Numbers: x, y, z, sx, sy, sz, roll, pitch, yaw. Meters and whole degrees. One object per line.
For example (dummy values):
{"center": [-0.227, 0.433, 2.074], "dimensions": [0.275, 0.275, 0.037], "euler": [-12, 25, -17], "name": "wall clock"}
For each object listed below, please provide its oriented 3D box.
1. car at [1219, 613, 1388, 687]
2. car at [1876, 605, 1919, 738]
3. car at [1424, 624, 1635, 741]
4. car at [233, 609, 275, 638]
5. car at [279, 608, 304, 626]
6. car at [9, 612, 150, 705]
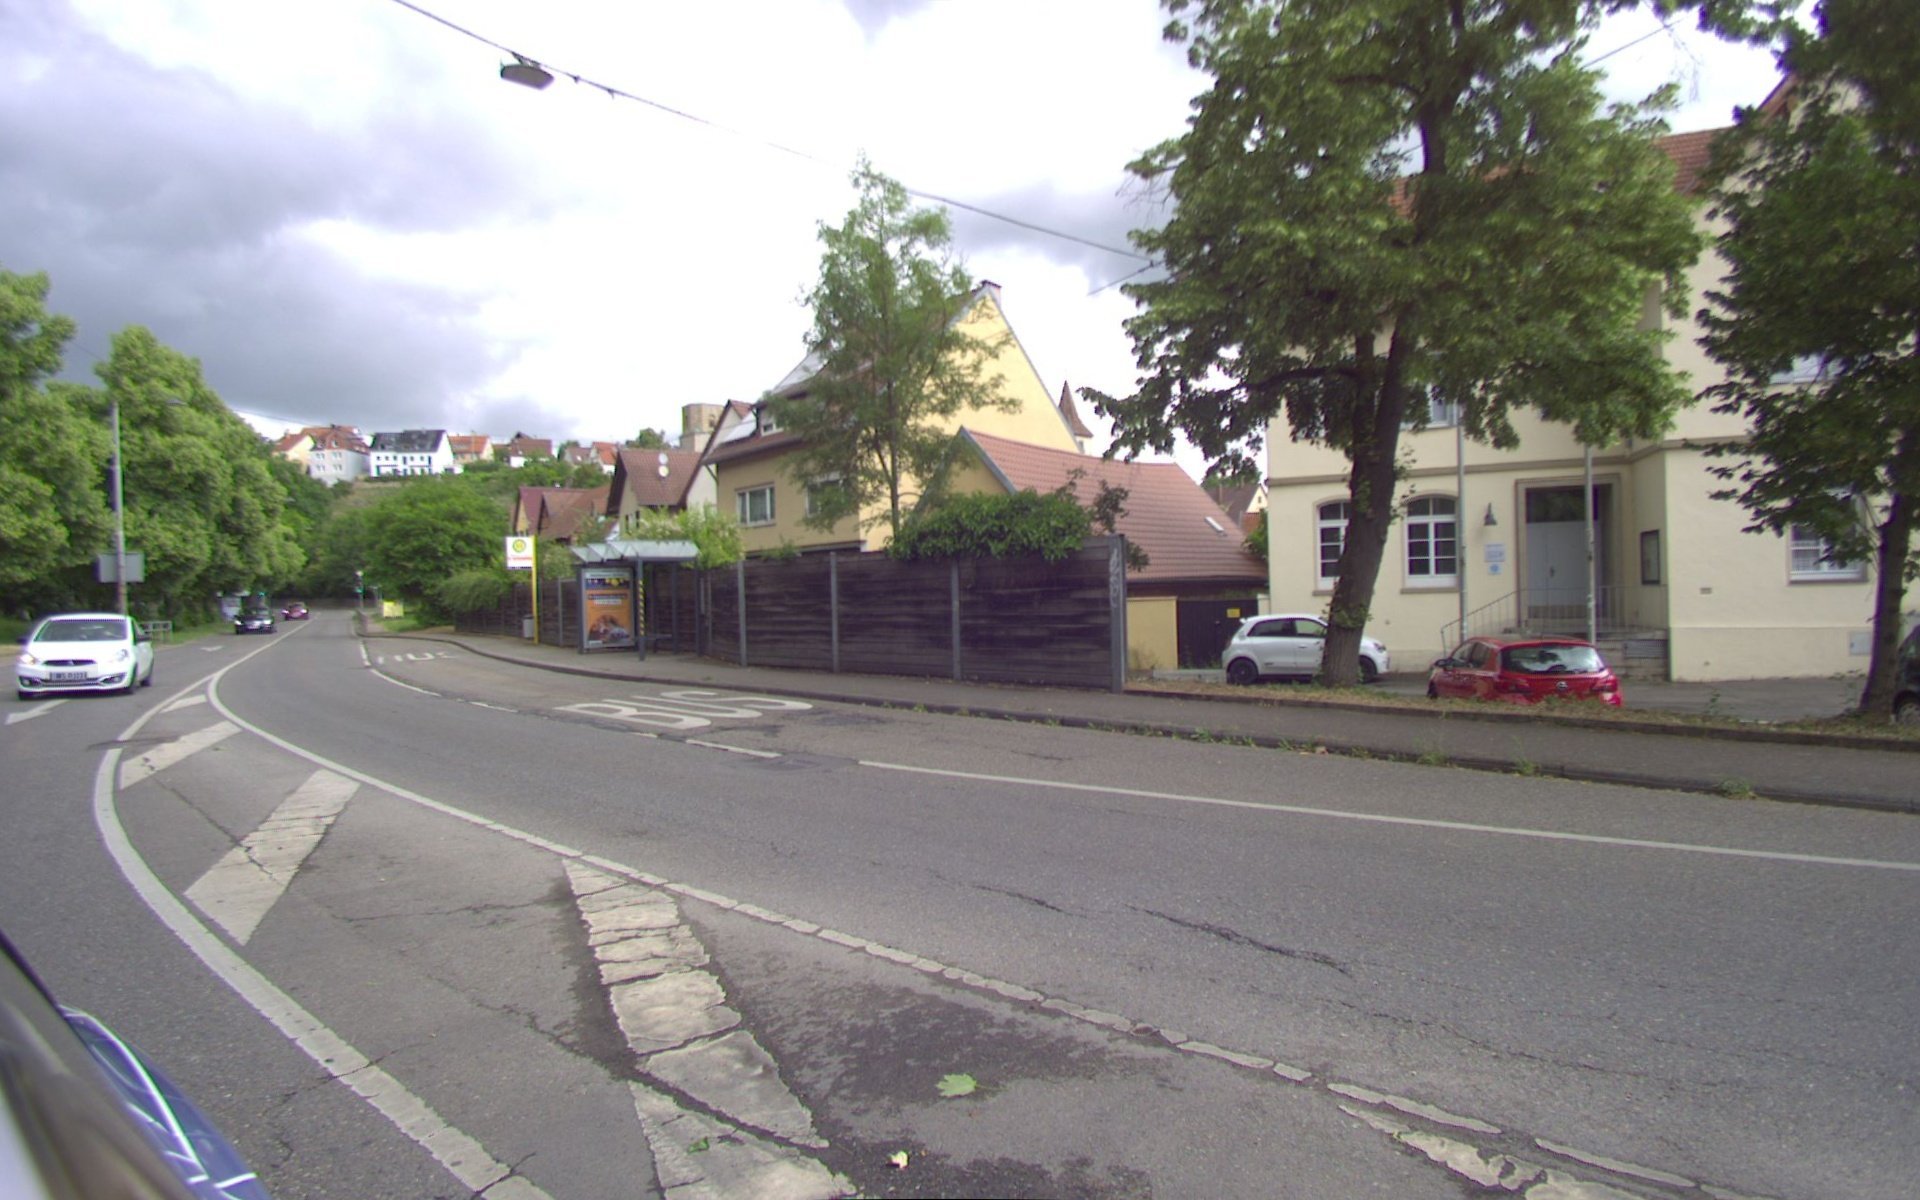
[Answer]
{"center": [7.736, 1.106, 22.933], "dimensions": [3.487, 1.528, 1.581], "euler": [-1, 0, 20], "name": "car"}
{"center": [12.689, 0.888, 11.595], "dimensions": [1.586, 1.644, 3.093], "euler": [-1, 0, 2], "name": "car"}
{"center": [8.116, 1.103, 14.778], "dimensions": [1.590, 1.389, 3.544], "euler": [-1, 0, 10], "name": "car"}
{"center": [-39.922, 1.311, 57.291], "dimensions": [1.696, 1.559, 3.793], "euler": [-1, 0, -32], "name": "car"}
{"center": [-63.648, 1.622, 96.357], "dimensions": [1.798, 1.685, 4.070], "euler": [-1, 0, -32], "name": "car"}
{"center": [-16.291, 1.001, 18.876], "dimensions": [1.593, 1.525, 3.614], "euler": [-1, 0, -35], "name": "car"}
